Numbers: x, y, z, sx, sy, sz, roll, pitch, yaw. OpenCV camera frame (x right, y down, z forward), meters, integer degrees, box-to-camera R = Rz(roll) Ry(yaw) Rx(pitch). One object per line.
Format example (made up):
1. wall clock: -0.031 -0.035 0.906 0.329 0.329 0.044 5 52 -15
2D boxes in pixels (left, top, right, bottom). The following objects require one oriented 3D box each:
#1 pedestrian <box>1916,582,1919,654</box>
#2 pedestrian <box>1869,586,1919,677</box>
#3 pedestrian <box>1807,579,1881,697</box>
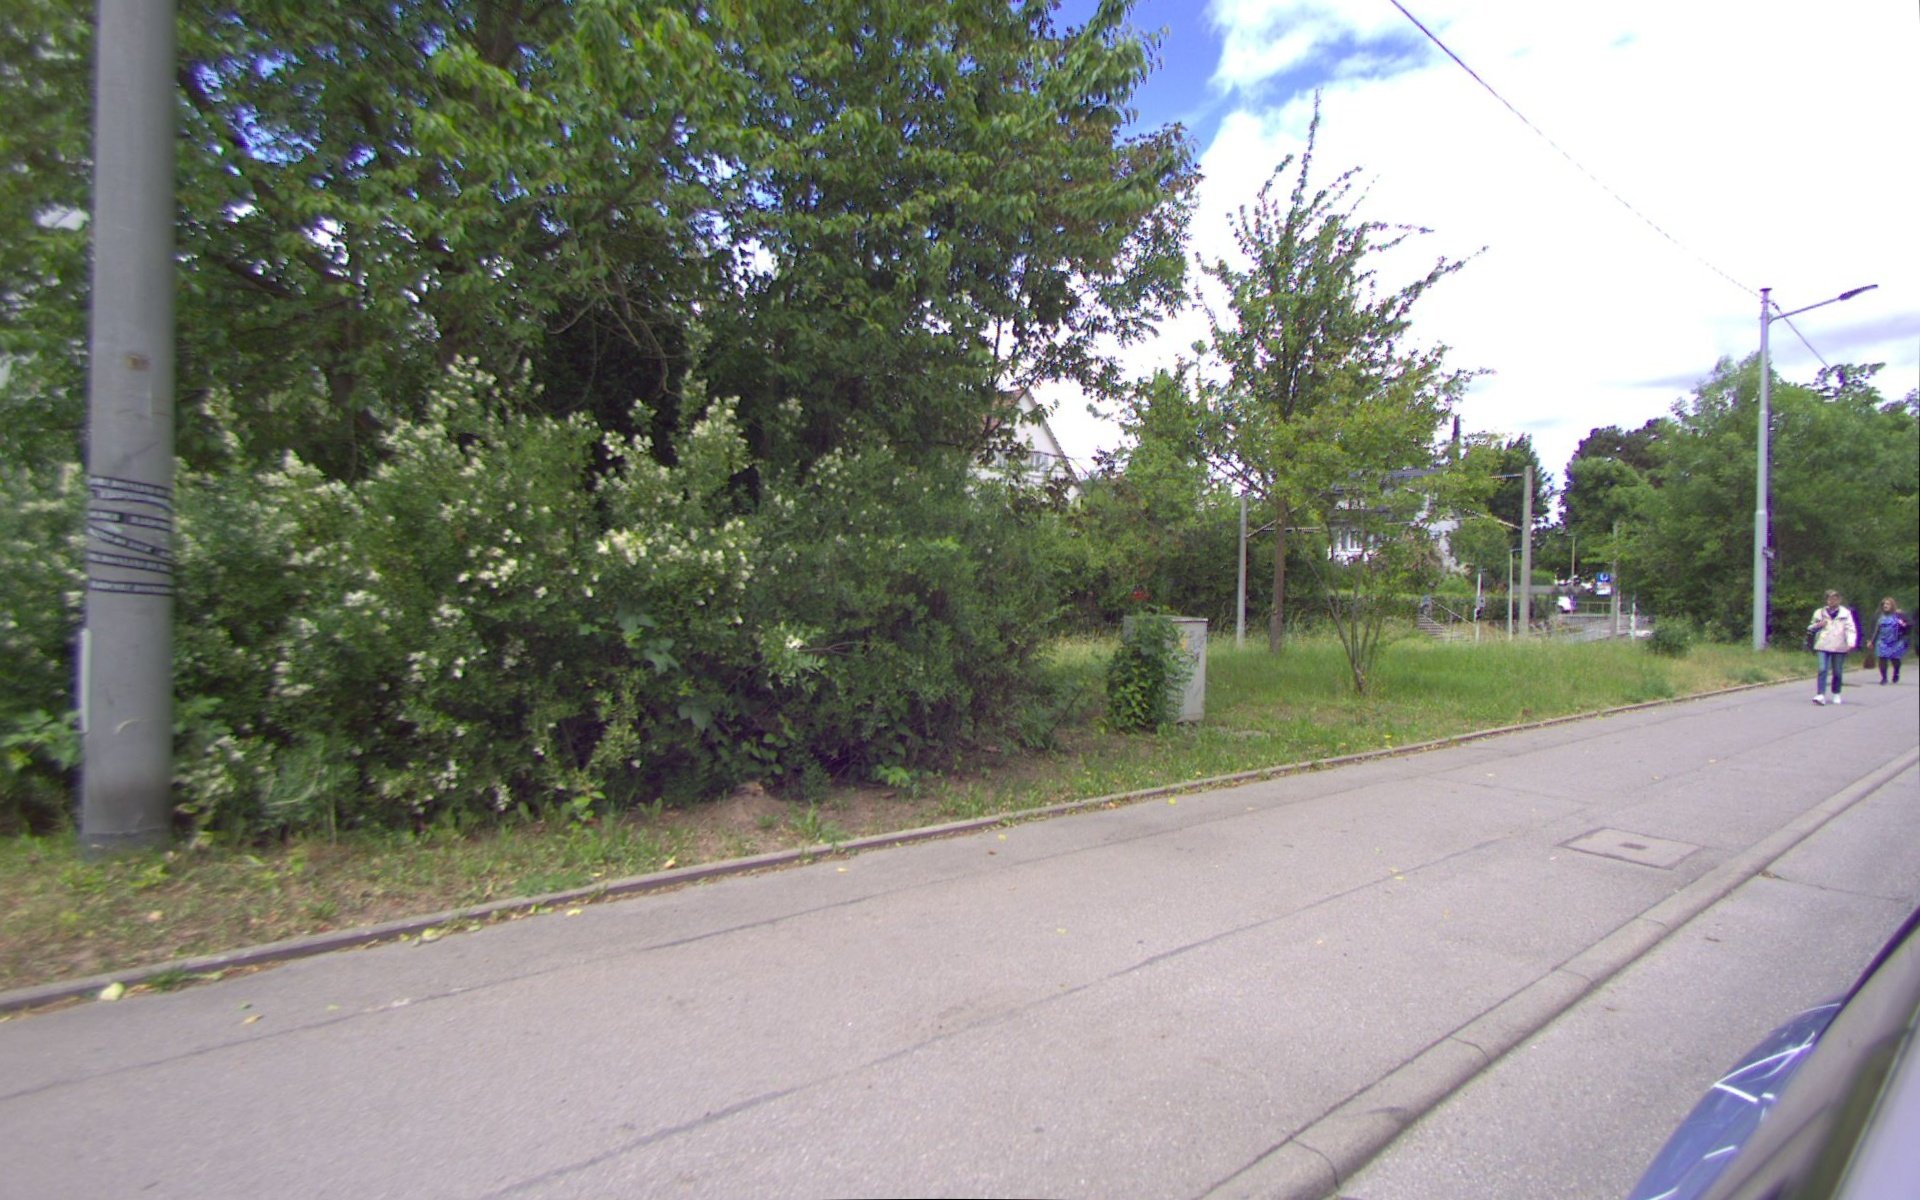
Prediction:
1. pedestrian: 25.756 0.473 26.609 0.785 1.906 0.748 1 -1 -32
2. pedestrian: 17.782 0.582 19.056 0.751 1.680 0.842 1 0 -35
3. pedestrian: 13.032 0.546 14.920 0.677 1.680 0.688 1 -1 -35
